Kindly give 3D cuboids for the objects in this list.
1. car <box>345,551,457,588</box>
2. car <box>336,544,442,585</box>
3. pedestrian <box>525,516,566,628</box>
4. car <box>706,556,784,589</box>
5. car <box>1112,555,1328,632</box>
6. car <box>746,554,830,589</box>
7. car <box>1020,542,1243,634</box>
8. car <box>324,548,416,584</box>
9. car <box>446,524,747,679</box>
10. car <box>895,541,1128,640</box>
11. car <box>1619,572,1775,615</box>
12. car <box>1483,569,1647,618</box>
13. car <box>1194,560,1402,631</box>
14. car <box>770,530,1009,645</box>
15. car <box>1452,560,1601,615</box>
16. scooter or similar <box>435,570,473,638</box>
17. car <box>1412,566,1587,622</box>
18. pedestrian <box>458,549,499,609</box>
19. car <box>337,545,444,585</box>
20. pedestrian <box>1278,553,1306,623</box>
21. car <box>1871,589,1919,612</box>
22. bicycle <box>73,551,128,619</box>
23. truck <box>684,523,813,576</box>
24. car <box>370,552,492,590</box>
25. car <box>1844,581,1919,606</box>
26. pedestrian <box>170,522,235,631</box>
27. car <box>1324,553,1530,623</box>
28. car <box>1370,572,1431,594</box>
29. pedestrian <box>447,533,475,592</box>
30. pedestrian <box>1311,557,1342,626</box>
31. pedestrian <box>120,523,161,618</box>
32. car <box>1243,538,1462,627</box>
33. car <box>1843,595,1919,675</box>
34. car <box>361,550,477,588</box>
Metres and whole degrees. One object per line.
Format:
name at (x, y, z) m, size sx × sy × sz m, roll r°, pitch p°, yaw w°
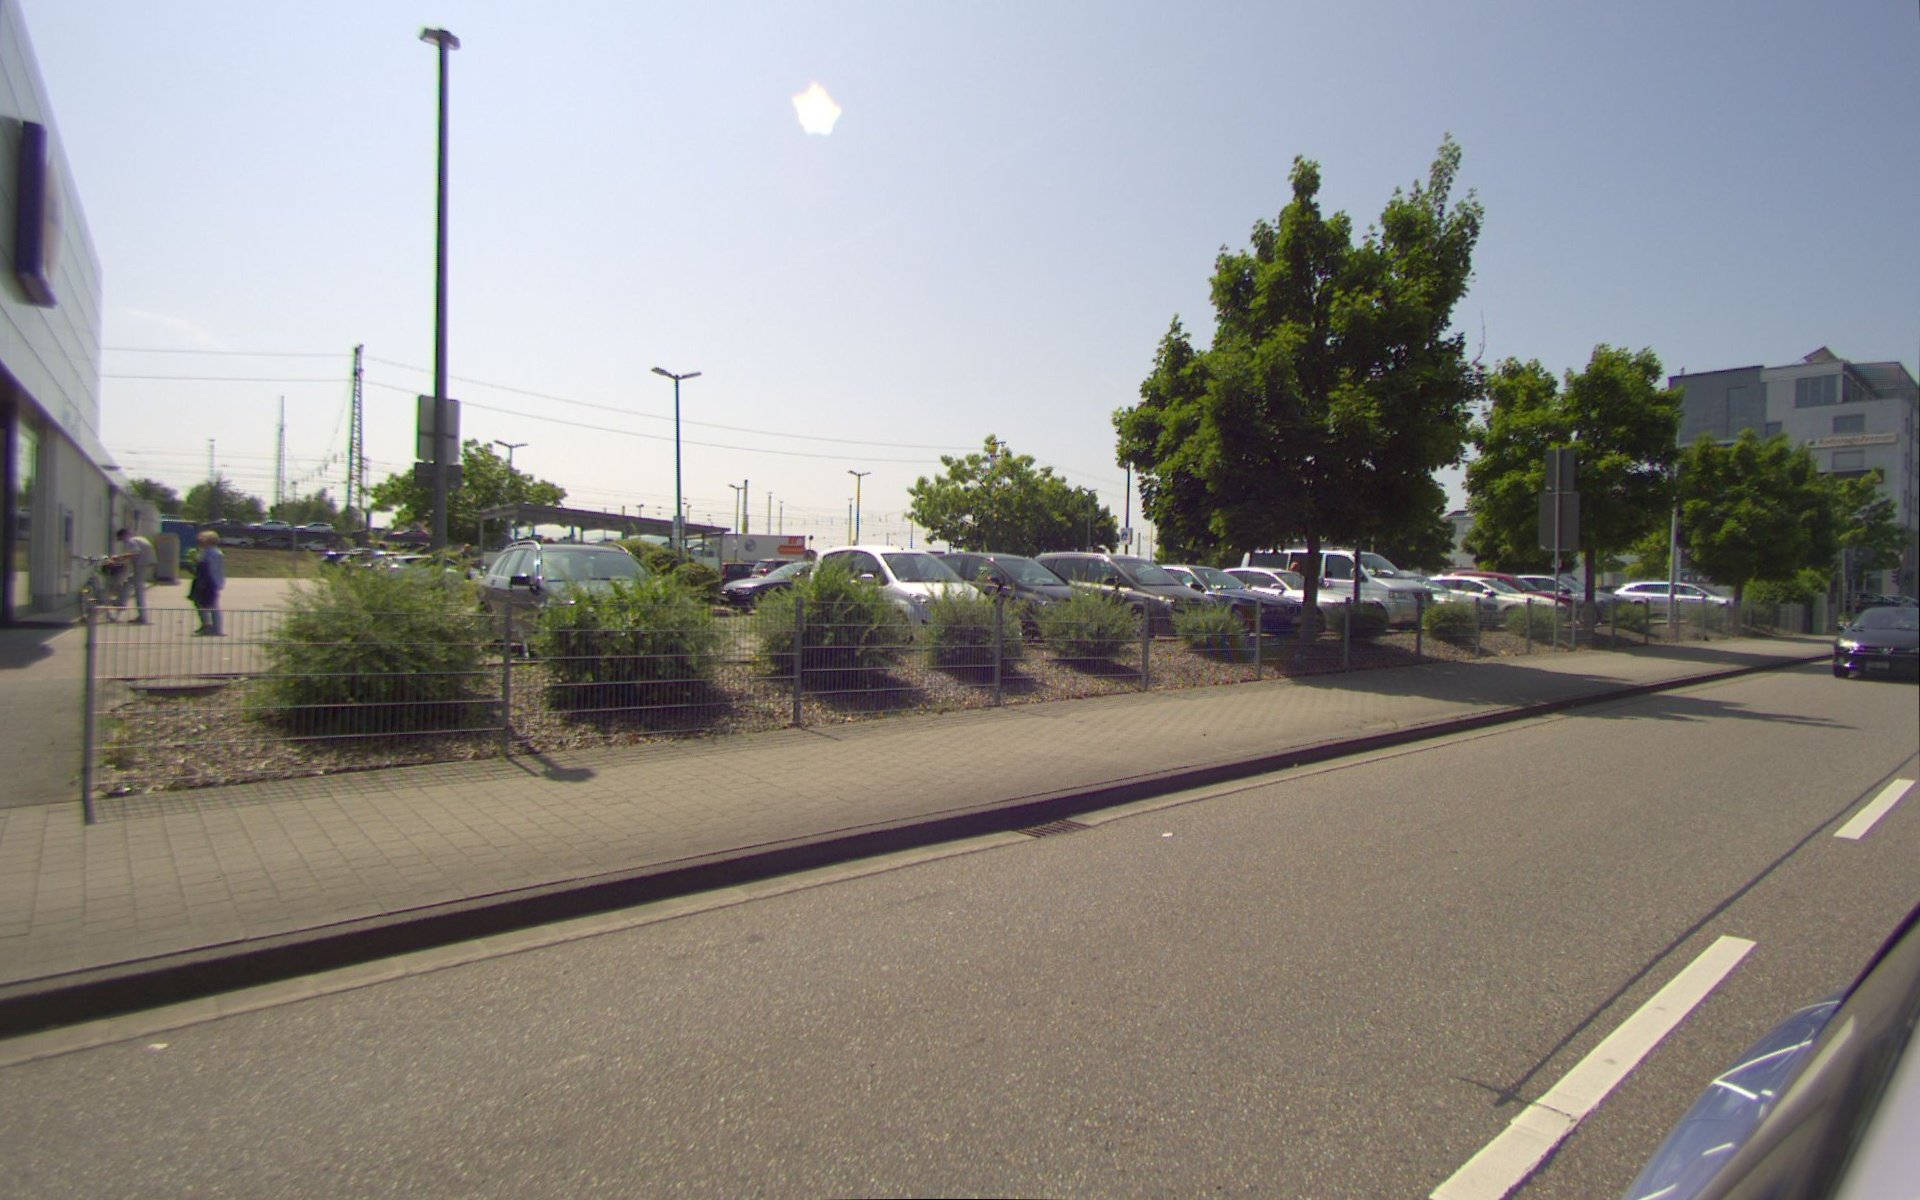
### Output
car at (-23.745, -1.281, 43.043) m, size 3.927 × 1.432 × 1.759 m, roll 0°, pitch 2°, yaw -38°
car at (-25.594, -1.569, 45.382) m, size 3.927 × 1.739 × 1.759 m, roll 0°, pitch 2°, yaw -38°
pedestrian at (-6.388, -0.436, 15.584) m, size 0.409 × 1.694 × 0.448 m, roll 1°, pitch 2°, yaw -43°
car at (-11.797, -1.483, 55.515) m, size 3.784 × 1.704 × 1.787 m, roll 0°, pitch 2°, yaw -36°
car at (5.216, -0.181, 20.701) m, size 1.794 × 1.407 × 3.997 m, roll 1°, pitch 1°, yaw -38°
car at (-8.712, -1.441, 51.337) m, size 3.784 × 1.704 × 1.787 m, roll 0°, pitch 2°, yaw -36°
car at (3.139, -0.273, 19.192) m, size 1.794 × 1.552 × 3.997 m, roll -1°, pitch 2°, yaw -38°
car at (-30.577, -1.768, 52.459) m, size 3.927 × 1.739 × 1.759 m, roll 0°, pitch 2°, yaw -38°
car at (-4.886, -0.125, 13.078) m, size 1.988 × 1.615 × 5.001 m, roll 0°, pitch 3°, yaw -41°
car at (0.820, -0.223, 17.927) m, size 1.797 × 1.552 × 3.991 m, roll -1°, pitch 3°, yaw -44°
car at (28.434, -0.284, 39.178) m, size 1.667 × 1.523 × 4.587 m, roll 1°, pitch 1°, yaw -39°
car at (19.318, -0.240, 32.467) m, size 1.666 × 1.439 × 4.183 m, roll 1°, pitch 1°, yaw -36°
car at (7.311, -0.151, 22.189) m, size 1.794 × 1.407 × 3.997 m, roll 1°, pitch 1°, yaw -38°
car at (-1.241, -0.169, 16.401) m, size 1.796 × 1.616 × 3.991 m, roll 0°, pitch 0°, yaw -42°
car at (17.178, -0.402, 30.785) m, size 1.693 × 1.556 × 3.596 m, roll 1°, pitch 1°, yaw -41°
scooter or similar at (-7.426, 0.059, 14.841) m, size 0.383 × 0.967 × 0.433 m, roll 1°, pitch 2°, yaw -42°
car at (15.033, -0.210, 28.377) m, size 1.667 × 1.439 × 4.006 m, roll 1°, pitch 1°, yaw -39°
pedestrian at (-7.057, -0.309, 14.839) m, size 0.409 × 0.861 × 0.448 m, roll 1°, pitch 2°, yaw -43°
car at (-27.128, -1.658, 48.288) m, size 4.242 × 1.739 × 1.759 m, roll 0°, pitch 2°, yaw -38°
pedestrian at (7.804, -0.284, 23.770) m, size 0.439 × 1.635 × 0.416 m, roll 0°, pitch 2°, yaw -44°
car at (60.295, 0.039, 63.906) m, size 1.725 × 1.355 × 3.881 m, roll 0°, pitch 2°, yaw -39°
bicycle at (-14.505, -0.266, 17.104) m, size 0.408 × 1.102 × 1.383 m, roll 1°, pitch 2°, yaw -28°
truck at (-16.964, -4.064, 81.830) m, size 9.844 × 3.884 × 2.860 m, roll 0°, pitch 3°, yaw -36°
car at (-20.417, -1.111, 39.116) m, size 3.927 × 1.371 × 1.759 m, roll 0°, pitch 2°, yaw -38°
car at (56.588, -0.409, 61.560) m, size 1.830 × 1.355 × 3.997 m, roll 0°, pitch 2°, yaw -39°
pedestrian at (-11.335, -0.353, 15.168) m, size 0.755 × 1.593 × 0.561 m, roll 1°, pitch 2°, yaw -36°
car at (11.687, -0.336, 25.573) m, size 1.794 × 1.612 × 4.378 m, roll 1°, pitch 1°, yaw -38°
car at (29.081, -1.112, 66.780) m, size 4.066 × 1.404 × 1.999 m, roll 0°, pitch 0°, yaw -38°
pedestrian at (-16.160, -1.216, 32.801) m, size 0.563 × 1.872 × 0.815 m, roll 1°, pitch 1°, yaw -7°
pedestrian at (8.406, -0.195, 23.218) m, size 0.438 × 1.544 × 0.417 m, roll 1°, pitch 2°, yaw -35°
pedestrian at (-14.063, -0.506, 17.368) m, size 0.525 × 1.593 × 0.590 m, roll 0°, pitch 2°, yaw -41°
car at (9.314, -0.445, 24.387) m, size 1.794 × 1.948 × 4.629 m, roll 1°, pitch 1°, yaw -38°
car at (18.374, 0.635, 19.327) m, size 3.436 × 1.373 × 1.641 m, roll 0°, pitch 3°, yaw -39°
car at (-22.051, -1.243, 41.282) m, size 3.927 × 1.432 × 1.759 m, roll 0°, pitch 2°, yaw -38°
